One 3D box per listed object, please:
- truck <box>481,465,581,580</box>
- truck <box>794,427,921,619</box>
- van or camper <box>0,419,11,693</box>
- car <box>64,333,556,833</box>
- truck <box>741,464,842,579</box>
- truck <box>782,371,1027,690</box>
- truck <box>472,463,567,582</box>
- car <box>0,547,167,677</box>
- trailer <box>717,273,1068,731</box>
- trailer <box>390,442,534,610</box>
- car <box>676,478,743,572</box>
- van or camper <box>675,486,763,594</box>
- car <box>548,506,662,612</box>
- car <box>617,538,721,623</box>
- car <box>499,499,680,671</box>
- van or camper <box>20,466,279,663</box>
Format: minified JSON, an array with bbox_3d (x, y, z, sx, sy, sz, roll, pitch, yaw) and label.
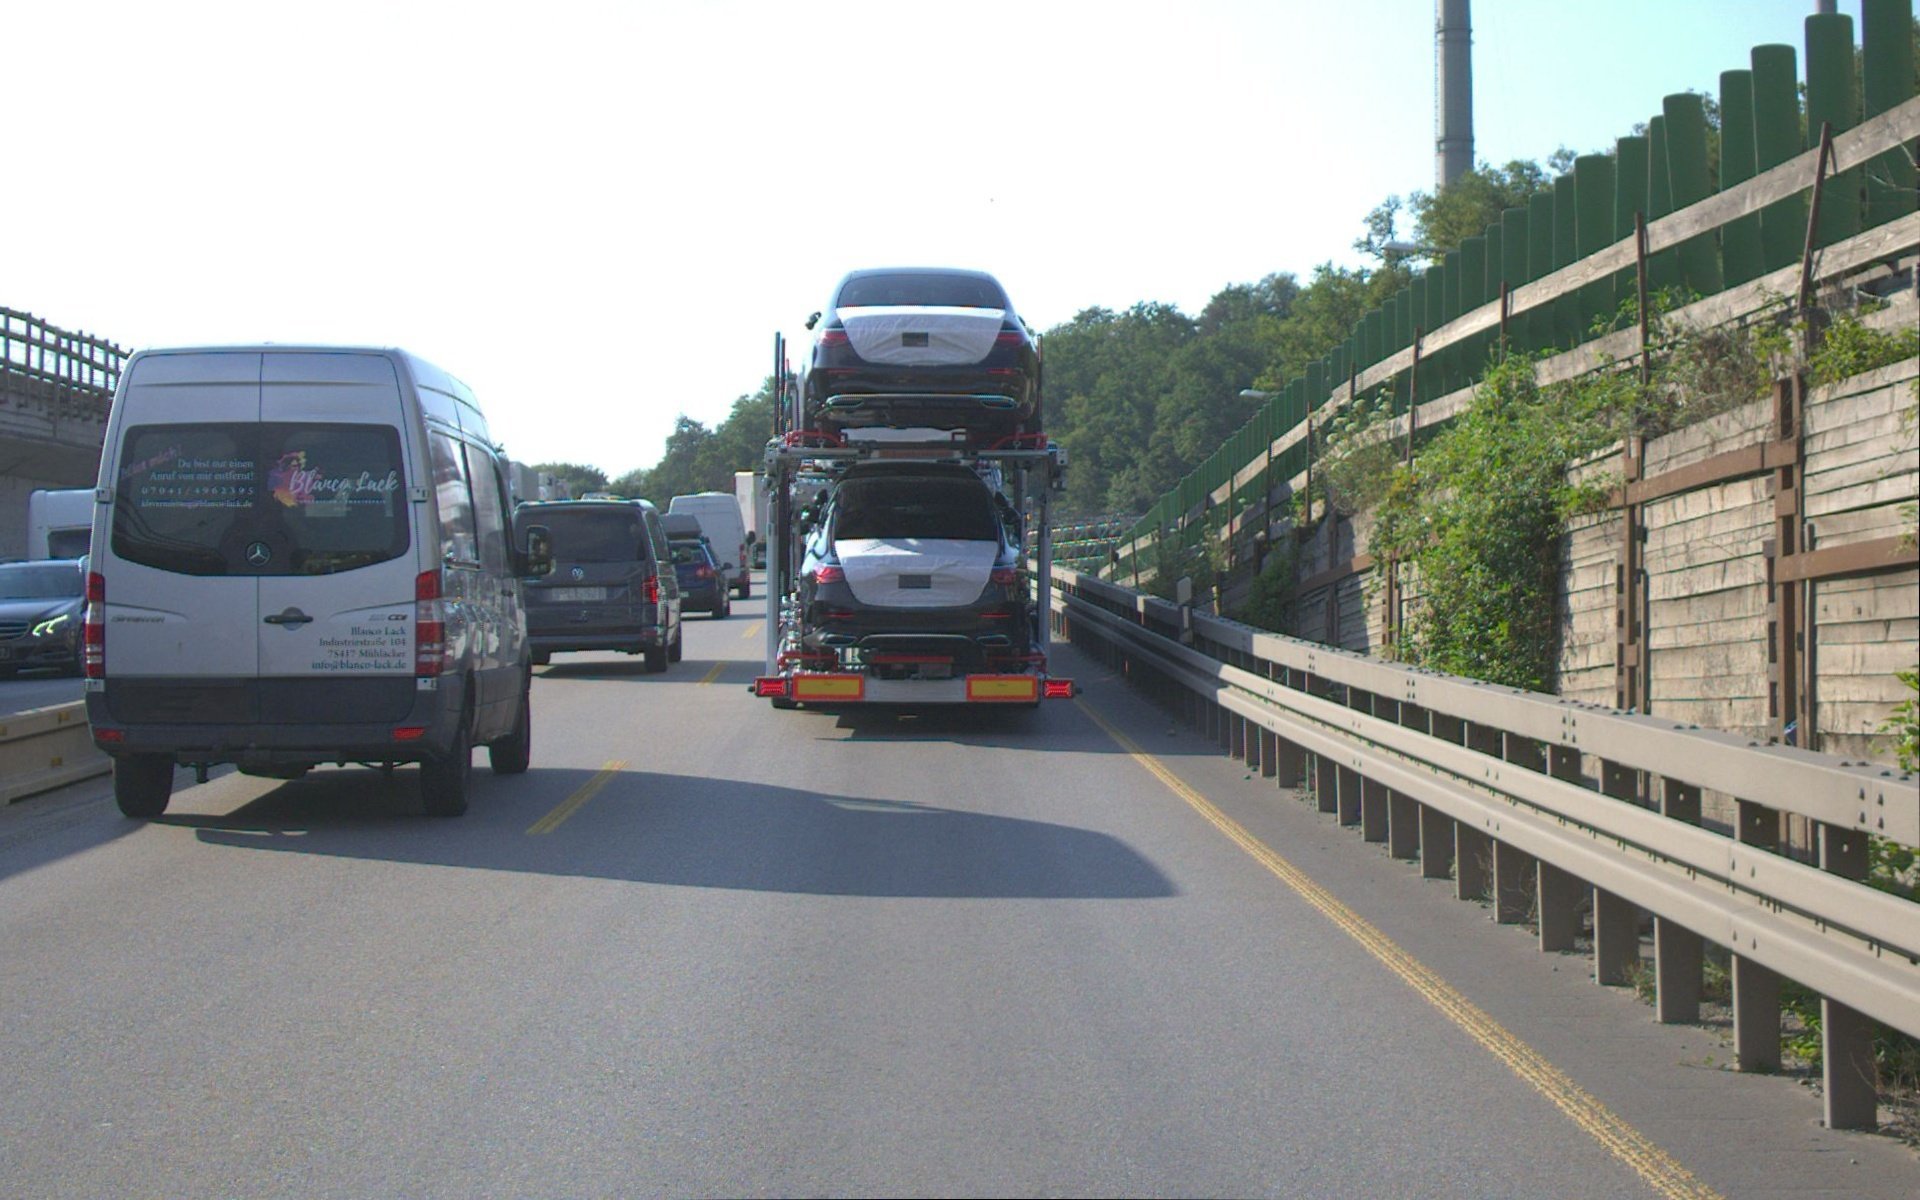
[{"bbox_3d":[-16.547,-2.939,133.474,2.982,4.139,15.858,1,1,-4],"label":"truck"},{"bbox_3d":[-2.623,-1.881,85.728,2.907,4.591,7.287,0,1,-4],"label":"truck"},{"bbox_3d":[-11.499,-0.462,34.628,2.319,2.979,6.224,-1,0,-2],"label":"van or camper"},{"bbox_3d":[-3.764,-0.137,20.971,1.993,2.639,5.531,0,1,-1],"label":"car"},{"bbox_3d":[-7.182,-3.246,145.197,4.064,4.663,10.593,0,1,-4],"label":"truck"},{"bbox_3d":[-0.646,-0.788,42.025,2.682,3.523,7.194,1,0,0],"label":"truck"},{"bbox_3d":[-15.901,-2.781,124.517,2.982,4.139,7.394,1,1,-4],"label":"truck"},{"bbox_3d":[-11.293,0.116,43.120,1.640,1.525,4.784,-1,1,-1],"label":"car"},{"bbox_3d":[-0.576,-0.786,34.456,2.682,3.523,15.289,1,0,0],"label":"trailer"},{"bbox_3d":[-13.087,-1.971,91.021,2.605,4.098,9.629,-3,1,-2],"label":"trailer"},{"bbox_3d":[-13.832,-4.128,190.272,3.444,5.018,9.654,1,1,-3],"label":"car"},{"bbox_3d":[-5.998,-1.452,85.944,1.968,2.583,5.042,1,0,-2],"label":"van or camper"},{"bbox_3d":[-8.664,-0.997,84.226,2.471,2.525,4.000,0,0,-1],"label":"car"},{"bbox_3d":[-5.459,-0.396,64.799,1.725,1.517,3.974,1,1,-2],"label":"car"},{"bbox_3d":[-4.312,-0.158,40.457,1.808,1.897,4.000,1,0,-2],"label":"car"},{"bbox_3d":[-11.776,-0.538,50.487,2.312,2.653,6.455,-1,1,-1],"label":"van or camper"}]
